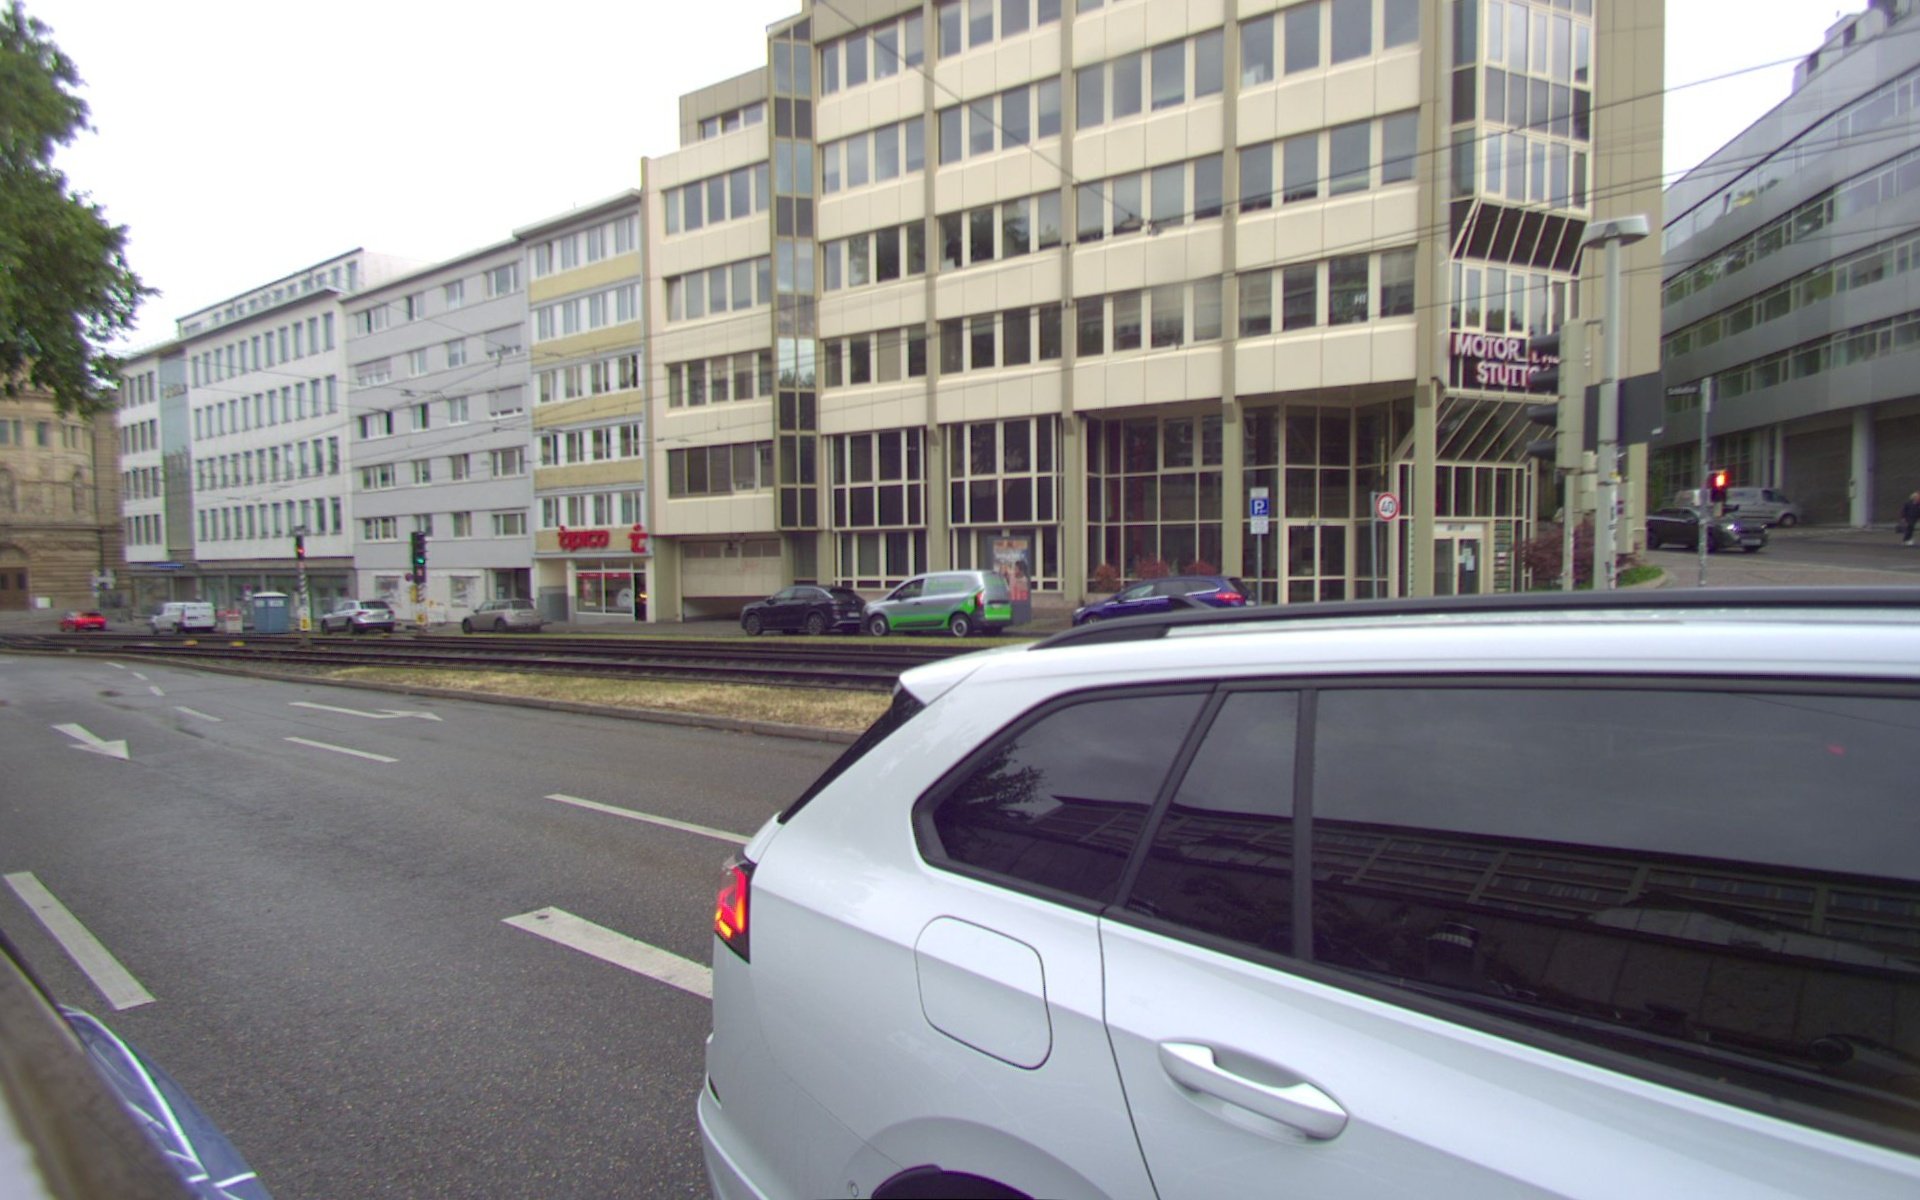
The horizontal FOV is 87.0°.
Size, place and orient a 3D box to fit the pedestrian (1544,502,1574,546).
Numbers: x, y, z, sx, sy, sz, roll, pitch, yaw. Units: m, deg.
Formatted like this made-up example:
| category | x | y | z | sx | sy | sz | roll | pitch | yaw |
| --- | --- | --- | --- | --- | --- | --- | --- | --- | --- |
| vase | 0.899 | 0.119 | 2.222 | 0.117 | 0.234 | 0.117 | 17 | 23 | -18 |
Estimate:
| category | x | y | z | sx | sy | sz | roll | pitch | yaw |
| --- | --- | --- | --- | --- | --- | --- | --- | --- | --- |
| pedestrian | 22.862 | -2.899 | 38.620 | 0.711 | 1.651 | 0.759 | -2 | 3 | 6 |

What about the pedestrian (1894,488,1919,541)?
| category | x | y | z | sx | sy | sz | roll | pitch | yaw |
| --- | --- | --- | --- | --- | --- | --- | --- | --- | --- |
| pedestrian | 34.224 | -3.061 | 36.255 | 0.711 | 1.874 | 0.847 | -2 | 3 | 6 |

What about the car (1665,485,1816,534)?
| category | x | y | z | sx | sy | sz | roll | pitch | yaw |
| --- | --- | --- | --- | --- | --- | --- | --- | --- | --- |
| car | 37.627 | -4.342 | 48.936 | 5.357 | 2.029 | 1.993 | -1 | 0 | 12 |

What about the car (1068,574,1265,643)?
| category | x | y | z | sx | sy | sz | roll | pitch | yaw |
| --- | --- | --- | --- | --- | --- | --- | --- | --- | --- |
| car | 4.817 | 0.198 | 23.849 | 4.207 | 1.488 | 1.780 | -1 | 0 | 35 |

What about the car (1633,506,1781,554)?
| category | x | y | z | sx | sy | sz | roll | pitch | yaw |
| --- | --- | --- | --- | --- | --- | --- | --- | --- | --- |
| car | 27.277 | -2.613 | 37.198 | 1.974 | 1.591 | 4.884 | -2 | 5 | 3 |

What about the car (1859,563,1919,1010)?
| category | x | y | z | sx | sy | sz | roll | pitch | yaw |
| --- | --- | --- | --- | --- | --- | --- | --- | --- | --- |
| car | 5.299 | 0.578 | 2.558 | 4.473 | 1.453 | 1.777 | -1 | 0 | 41 |

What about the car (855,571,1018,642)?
| category | x | y | z | sx | sy | sz | roll | pitch | yaw |
| --- | --- | --- | --- | --- | --- | --- | --- | --- | --- |
| car | -0.675 | 0.176 | 27.864 | 4.204 | 1.759 | 1.782 | -1 | 2 | 33 |

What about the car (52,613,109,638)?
| category | x | y | z | sx | sy | sz | roll | pitch | yaw |
| --- | --- | --- | --- | --- | --- | --- | --- | --- | --- |
| car | -62.206 | 1.791 | 71.560 | 4.465 | 1.636 | 1.869 | -1 | 3 | 34 |

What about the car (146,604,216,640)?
| category | x | y | z | sx | sy | sz | roll | pitch | yaw |
| --- | --- | --- | --- | --- | --- | --- | --- | --- | --- |
| car | -46.548 | 1.299 | 60.454 | 4.465 | 1.949 | 1.869 | -1 | 3 | 34 |

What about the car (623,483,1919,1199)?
| category | x | y | z | sx | sy | sz | roll | pitch | yaw |
| --- | --- | --- | --- | --- | --- | --- | --- | --- | --- |
| car | 1.610 | 0.627 | 1.160 | 4.473 | 1.453 | 1.777 | -1 | 0 | 41 |

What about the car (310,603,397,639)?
| category | x | y | z | sx | sy | sz | roll | pitch | yaw |
| --- | --- | --- | --- | --- | --- | --- | --- | --- | --- |
| car | -28.310 | 0.957 | 47.210 | 4.066 | 1.524 | 1.869 | -1 | 3 | 34 |

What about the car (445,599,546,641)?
| category | x | y | z | sx | sy | sz | roll | pitch | yaw |
| --- | --- | --- | --- | --- | --- | --- | --- | --- | --- |
| car | -18.710 | 0.777 | 40.711 | 4.066 | 1.524 | 1.782 | -1 | 3 | 34 |

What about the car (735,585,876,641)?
| category | x | y | z | sx | sy | sz | roll | pitch | yaw |
| --- | --- | --- | --- | --- | --- | --- | --- | --- | --- |
| car | -4.716 | 0.385 | 30.754 | 4.066 | 1.524 | 1.782 | -1 | 3 | 34 |

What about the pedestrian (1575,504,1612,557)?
| category | x | y | z | sx | sy | sz | roll | pitch | yaw |
| --- | --- | --- | --- | --- | --- | --- | --- | --- | --- |
| pedestrian | 22.161 | -2.420 | 35.416 | 0.821 | 1.800 | 0.759 | -2 | 3 | 6 |
